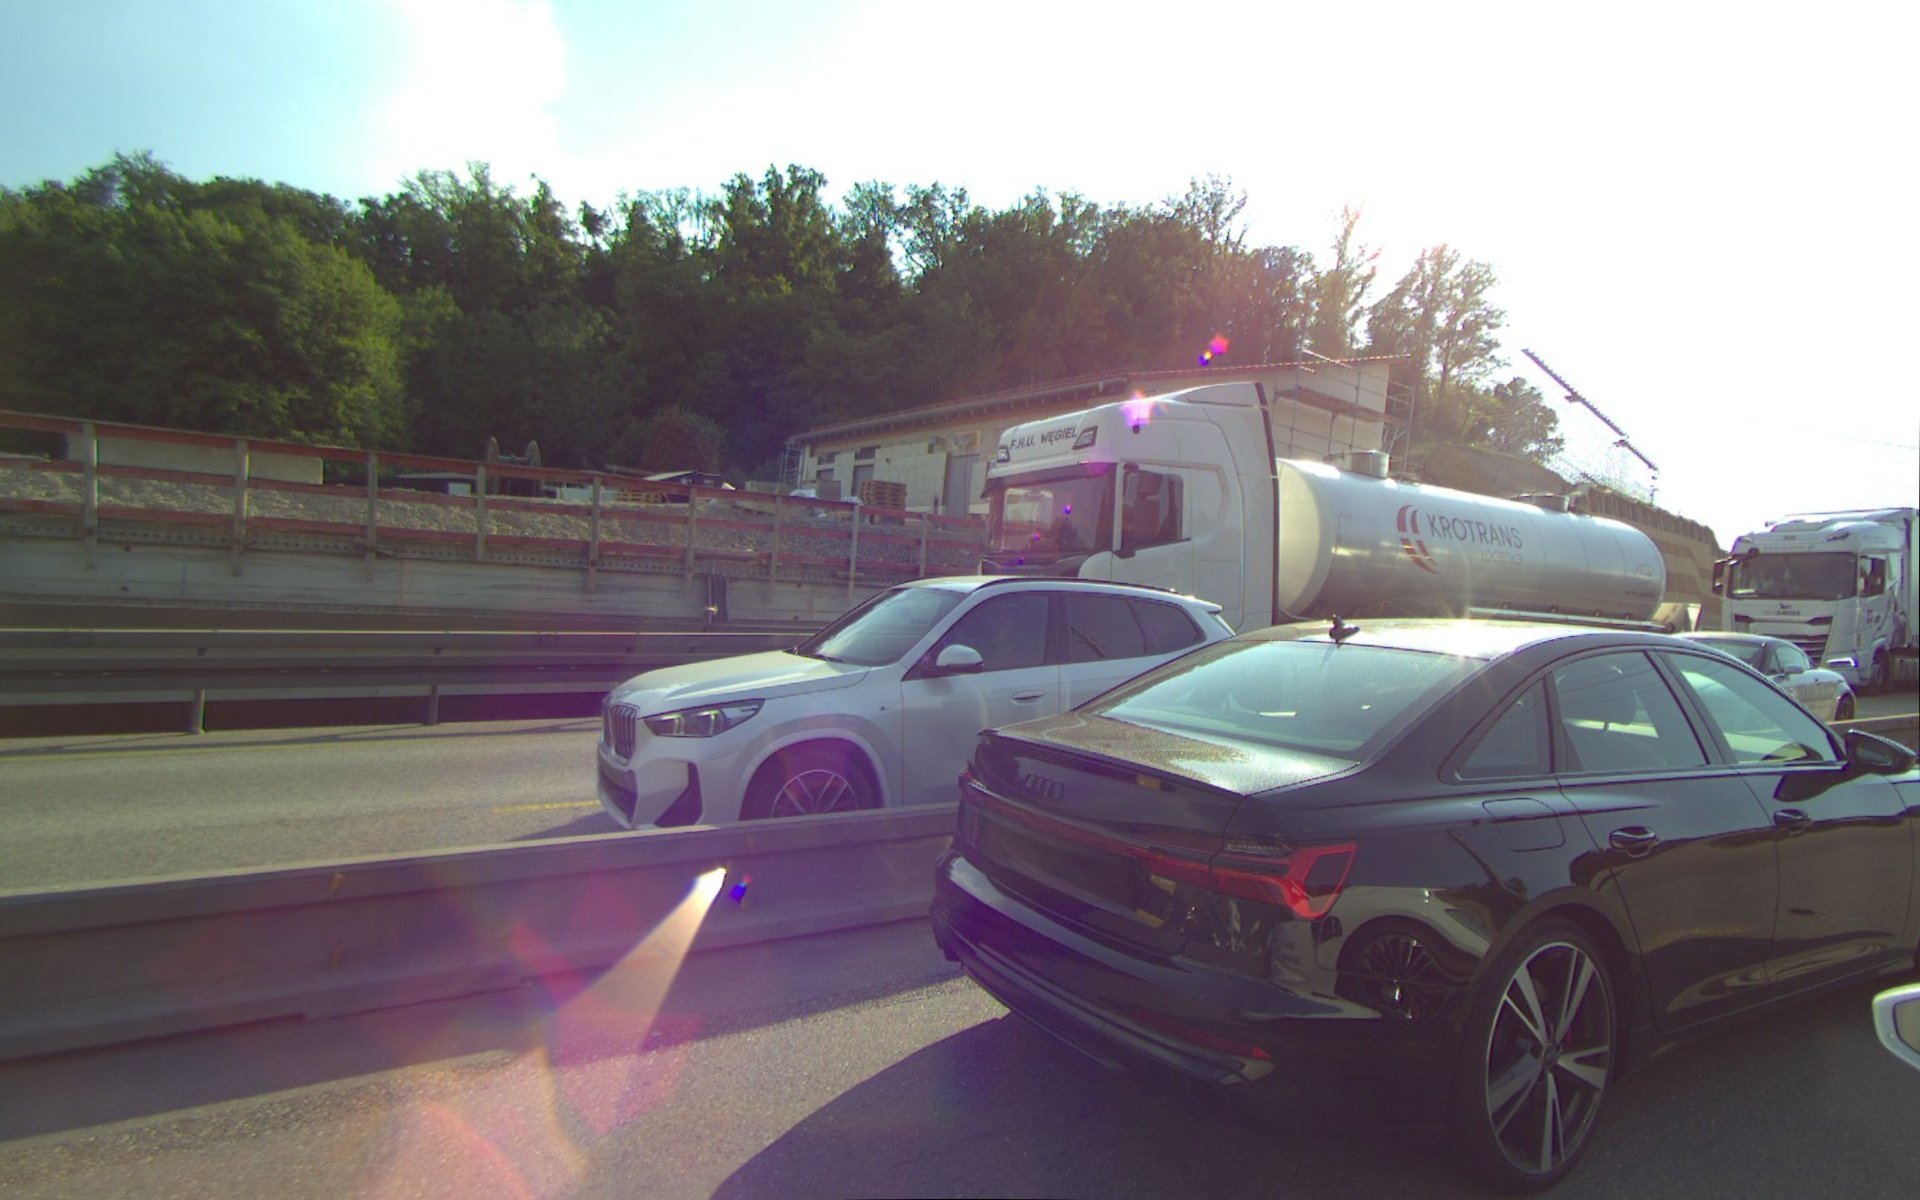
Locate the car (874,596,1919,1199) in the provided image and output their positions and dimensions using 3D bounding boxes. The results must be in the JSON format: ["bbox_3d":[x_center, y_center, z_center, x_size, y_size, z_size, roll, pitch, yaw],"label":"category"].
[{"bbox_3d":[2.411,0.859,4.063,5.158,1.500,1.932,3,-2,-29],"label":"car"}]

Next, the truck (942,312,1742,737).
[{"bbox_3d":[6.400,-0.524,14.317,13.737,4.023,2.794,2,0,-32],"label":"truck"}]

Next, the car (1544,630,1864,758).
[{"bbox_3d":[8.909,1.058,11.951,4.006,1.269,1.702,3,-2,-31],"label":"car"}]

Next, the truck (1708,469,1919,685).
[{"bbox_3d":[19.863,-0.323,22.854,6.253,4.328,2.430,3,-1,-32],"label":"truck"}]

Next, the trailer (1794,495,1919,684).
[{"bbox_3d":[26.429,0.039,27.069,12.013,4.322,2.440,3,-1,-32],"label":"trailer"}]

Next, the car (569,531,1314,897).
[{"bbox_3d":[0.012,0.621,6.527,4.506,1.669,1.837,3,-2,-30],"label":"car"}]
